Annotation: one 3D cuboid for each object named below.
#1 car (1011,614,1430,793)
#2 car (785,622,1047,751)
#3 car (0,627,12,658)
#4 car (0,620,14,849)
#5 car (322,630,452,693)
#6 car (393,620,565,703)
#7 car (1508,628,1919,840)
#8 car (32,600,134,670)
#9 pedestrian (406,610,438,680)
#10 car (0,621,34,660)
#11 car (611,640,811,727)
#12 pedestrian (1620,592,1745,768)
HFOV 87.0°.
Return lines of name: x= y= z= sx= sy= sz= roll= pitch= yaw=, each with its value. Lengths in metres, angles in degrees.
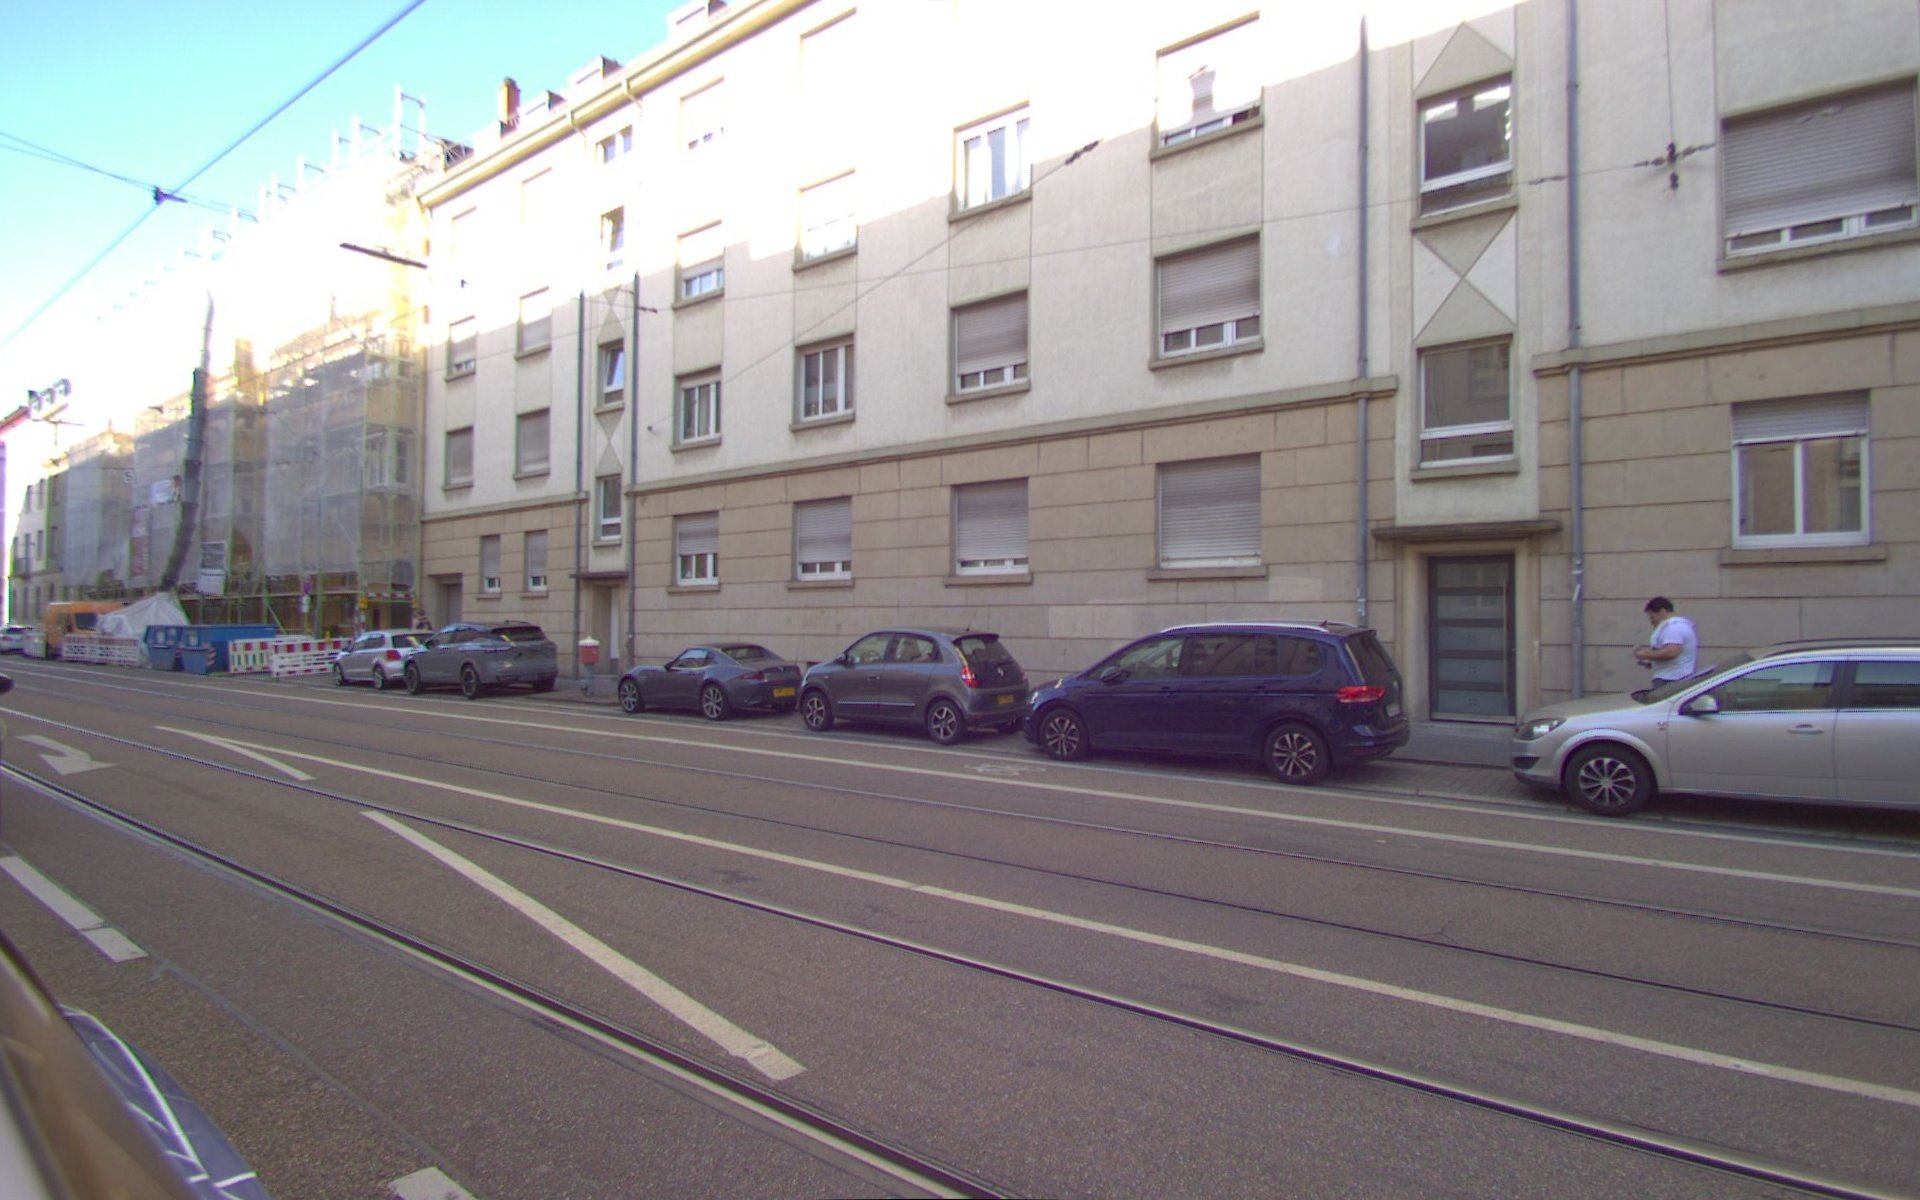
car: x=2.879 y=1.019 z=11.658 sx=4.318 sy=1.645 sz=1.798 roll=-1 pitch=1 yaw=37
car: x=-0.693 y=1.139 z=14.640 sx=3.591 sy=1.570 sz=1.624 roll=-1 pitch=1 yaw=38
car: x=-54.765 y=2.399 z=56.924 sx=3.932 sy=1.696 sz=1.550 roll=-1 pitch=0 yaw=39
car: x=-7.989 y=0.885 z=6.969 sx=3.814 sy=1.436 sz=1.705 roll=-2 pitch=-3 yaw=40
car: x=-14.401 y=1.490 z=25.378 sx=3.502 sy=1.390 sz=1.546 roll=-1 pitch=1 yaw=37
car: x=-10.811 y=1.298 z=22.625 sx=4.152 sy=1.621 sz=1.731 roll=-1 pitch=1 yaw=37
car: x=7.135 y=1.012 z=8.393 sx=4.363 sy=1.465 sz=1.709 roll=-1 pitch=1 yaw=37
car: x=-36.459 y=1.391 z=42.006 sx=5.866 sy=2.717 sz=2.188 roll=-1 pitch=0 yaw=39
pedestrian: x=-14.843 y=1.223 z=27.906 sx=0.762 sy=1.886 sz=0.513 roll=-1 pitch=0 yaw=38
car: x=-50.019 y=2.126 z=53.334 sx=1.635 sy=1.937 sz=3.767 roll=-1 pitch=0 yaw=-44
car: x=-4.344 y=1.372 z=17.456 sx=3.518 sy=1.229 sz=1.458 roll=-1 pitch=1 yaw=37
pedestrian: x=7.645 y=0.808 z=10.755 sx=1.002 sy=1.781 sz=0.657 roll=-1 pitch=0 yaw=31
